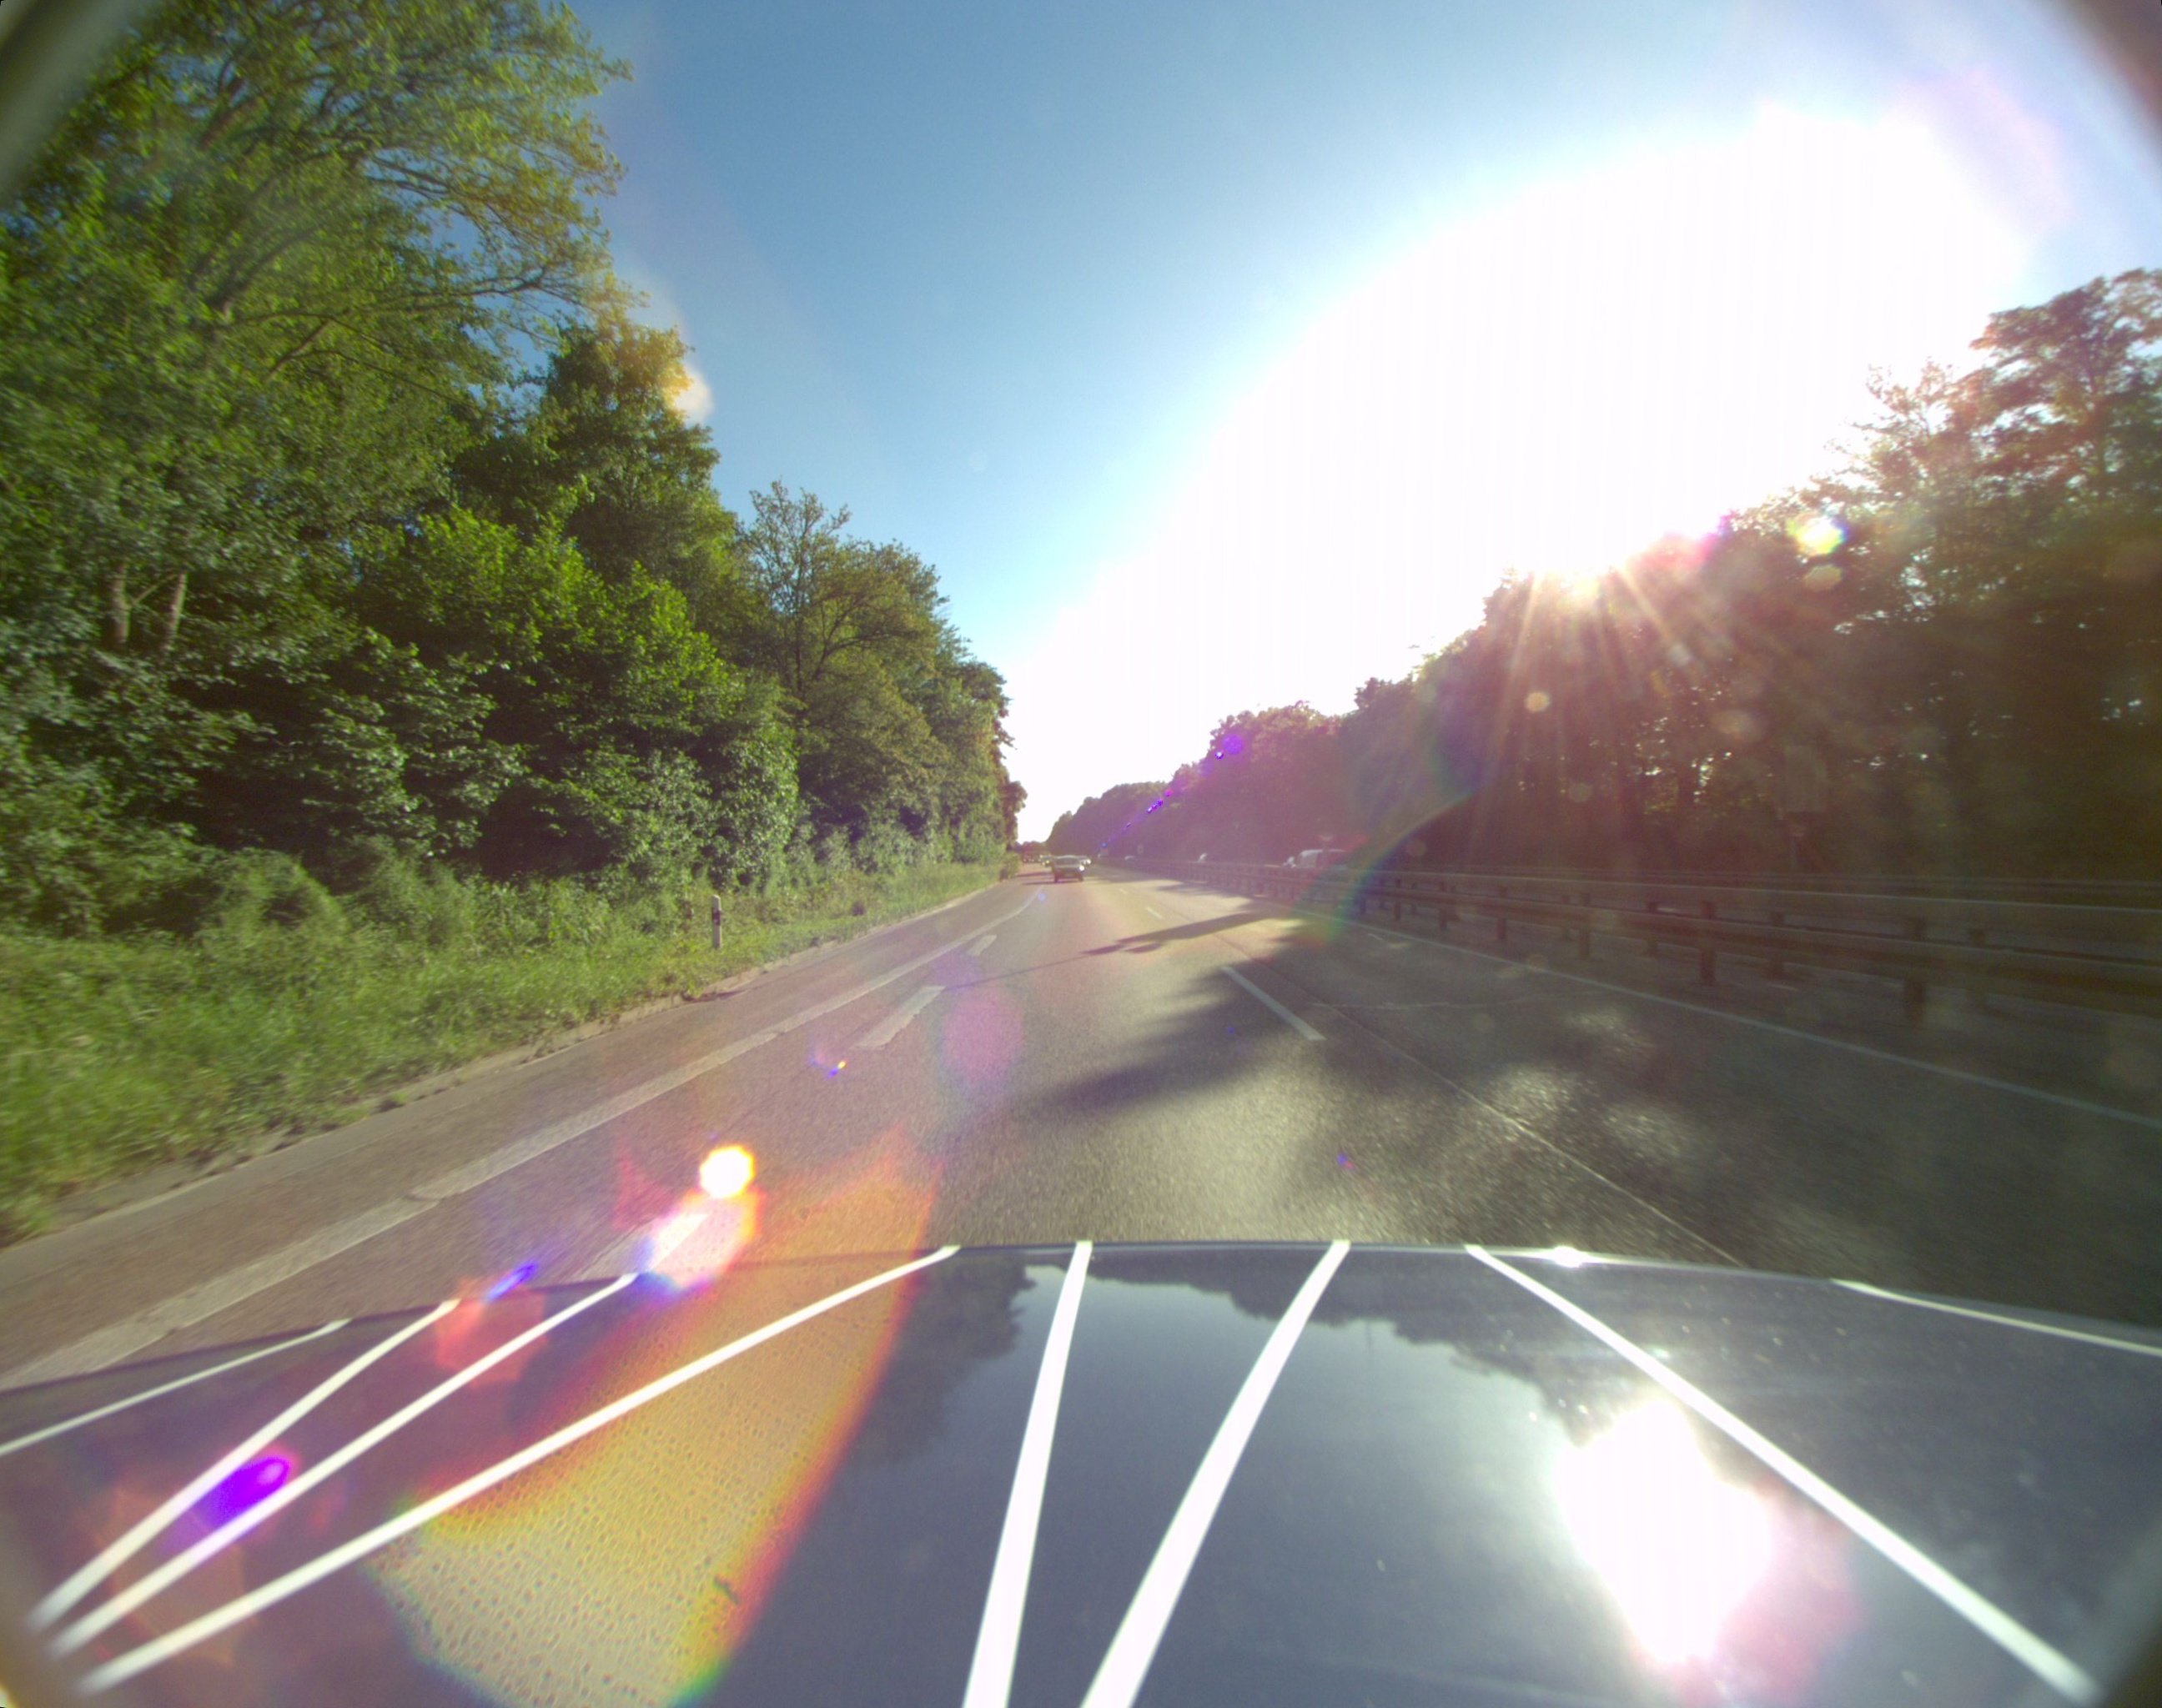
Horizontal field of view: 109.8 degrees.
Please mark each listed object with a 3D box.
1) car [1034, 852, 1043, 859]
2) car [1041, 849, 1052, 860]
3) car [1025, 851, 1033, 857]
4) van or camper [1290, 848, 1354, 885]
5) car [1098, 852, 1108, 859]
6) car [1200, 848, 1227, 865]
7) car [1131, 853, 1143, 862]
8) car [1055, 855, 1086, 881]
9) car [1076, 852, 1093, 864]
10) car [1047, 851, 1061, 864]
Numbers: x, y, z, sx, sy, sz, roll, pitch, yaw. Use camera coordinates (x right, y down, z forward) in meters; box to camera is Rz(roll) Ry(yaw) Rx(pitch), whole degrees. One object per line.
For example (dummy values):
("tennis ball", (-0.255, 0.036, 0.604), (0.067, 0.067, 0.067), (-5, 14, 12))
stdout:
("car", (-10.102, 0.342, 179.692), (1.999, 1.761, 3.999), (-1, 0, -3))
("car", (-6.135, 0.082, 134.532), (1.999, 1.761, 3.999), (-1, 0, -3))
("car", (-14.747, 0.001, 215.026), (1.999, 1.761, 3.999), (-1, 0, -3))
("van or camper", (12.077, 0.590, 38.338), (1.876, 1.756, 4.286), (0, 0, 0))
("car", (4.261, 0.328, 146.851), (1.625, 1.326, 3.386), (0, 0, -2))
("car", (14.201, 0.252, 81.815), (1.999, 1.868, 4.424), (0, 0, -2))
("car", (8.526, 0.502, 116.693), (1.513, 1.326, 3.386), (0, 0, -2))
("car", (-0.644, 0.834, 46.668), (1.801, 1.453, 4.355), (0, 0, 0))
("car", (0.479, 0.531, 100.126), (1.905, 1.453, 4.354), (-1, 1, -4))
("car", (-4.069, 0.489, 112.110), (1.999, 1.761, 3.999), (-1, 0, -3))
